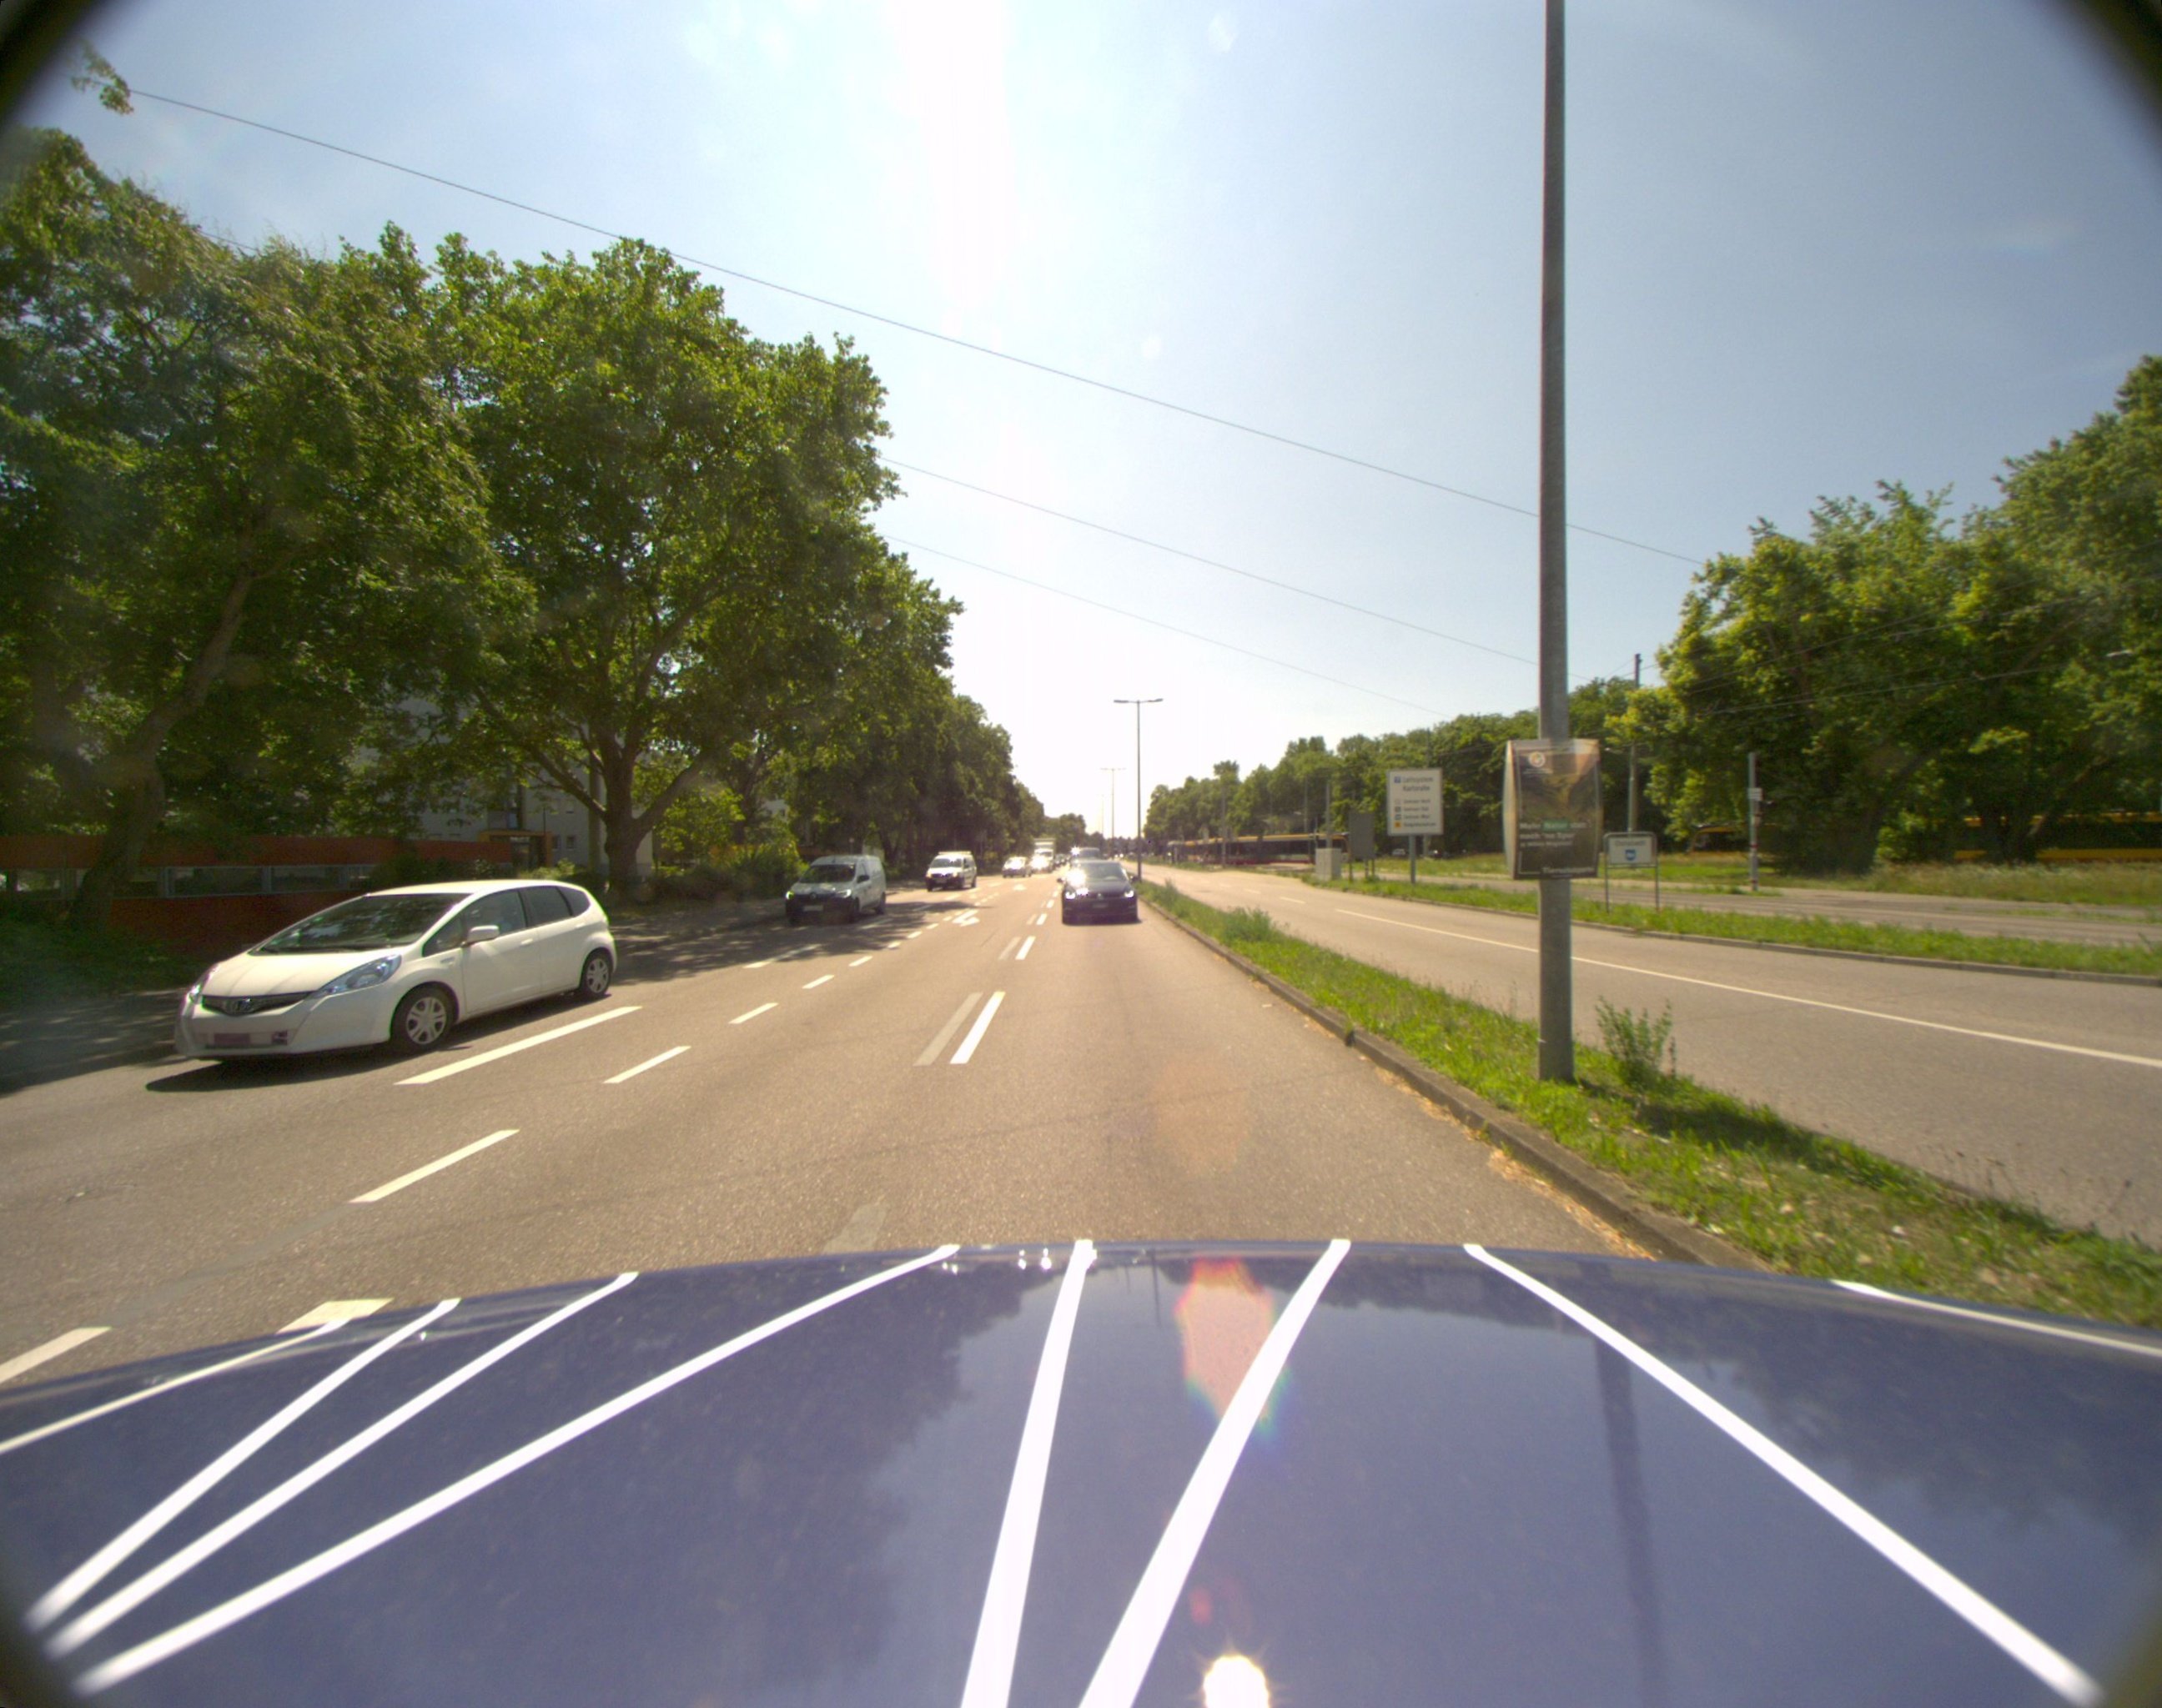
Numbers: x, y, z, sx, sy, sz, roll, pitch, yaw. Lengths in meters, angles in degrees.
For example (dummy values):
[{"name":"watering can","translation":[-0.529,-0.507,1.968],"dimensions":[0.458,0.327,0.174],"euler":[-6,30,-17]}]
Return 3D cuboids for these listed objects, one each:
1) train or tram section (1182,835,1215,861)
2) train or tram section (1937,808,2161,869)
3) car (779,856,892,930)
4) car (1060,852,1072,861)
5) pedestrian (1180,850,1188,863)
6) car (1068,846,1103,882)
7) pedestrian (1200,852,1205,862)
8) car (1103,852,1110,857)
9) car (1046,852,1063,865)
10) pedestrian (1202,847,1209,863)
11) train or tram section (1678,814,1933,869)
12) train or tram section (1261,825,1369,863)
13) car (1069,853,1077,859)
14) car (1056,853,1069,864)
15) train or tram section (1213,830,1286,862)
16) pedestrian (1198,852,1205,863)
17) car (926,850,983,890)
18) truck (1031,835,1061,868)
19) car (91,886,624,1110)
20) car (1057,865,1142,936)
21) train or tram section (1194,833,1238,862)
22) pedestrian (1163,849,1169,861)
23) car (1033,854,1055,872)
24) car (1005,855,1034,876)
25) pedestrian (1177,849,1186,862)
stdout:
[{"name":"train or tram section","translation":[18.314,-0.924,119.102],"dimensions":[3.051,3.745,13.260],"euler":[-2,0,0]},{"name":"train or tram section","translation":[61.733,-0.891,47.664],"dimensions":[3.051,3.446,10.200],"euler":[-3,0,-31]},{"name":"car","translation":[-6.658,0.975,21.102],"dimensions":[1.714,1.737,4.426],"euler":[-2,0,-1]},{"name":"car","translation":[-2.310,0.372,117.009],"dimensions":[1.746,1.382,3.887],"euler":[-1,0,1]},{"name":"pedestrian","translation":[12.704,0.321,93.652],"dimensions":[0.837,1.499,0.879],"euler":[-2,1,-2]},{"name":"car","translation":[0.257,0.495,41.588],"dimensions":[1.746,1.840,3.887],"euler":[-1,0,1]},{"name":"pedestrian","translation":[12.484,0.299,77.915],"dimensions":[0.384,1.052,0.377],"euler":[-2,1,-2]},{"name":"car","translation":[7.522,0.238,222.530],"dimensions":[1.773,1.496,3.721],"euler":[-1,0,5]},{"name":"car","translation":[-3.157,0.518,91.146],"dimensions":[1.746,1.382,3.887],"euler":[-1,0,1]},{"name":"pedestrian","translation":[12.633,0.110,77.289],"dimensions":[0.536,1.556,0.582],"euler":[-2,1,-1]},{"name":"train or tram section","translation":[52.424,-0.761,55.749],"dimensions":[13.229,3.446,3.052],"euler":[-2,0,45]},{"name":"train or tram section","translation":[24.832,-0.938,81.711],"dimensions":[3.058,3.603,12.425],"euler":[-3,0,-28]},{"name":"car","translation":[-2.132,0.583,208.389],"dimensions":[1.745,1.382,3.888],"euler":[-1,0,4]},{"name":"car","translation":[-2.503,0.639,104.894],"dimensions":[1.618,1.373,4.114],"euler":[-2,0,1]},{"name":"train or tram section","translation":[20.309,-0.890,92.671],"dimensions":[3.055,3.603,12.435],"euler":[-2,0,-15]},{"name":"pedestrian","translation":[12.464,0.362,78.476],"dimensions":[0.582,1.182,0.536],"euler":[-2,1,-5]},{"name":"car","translation":[-6.335,0.763,38.571],"dimensions":[1.809,1.845,5.082],"euler":[-2,0,2]},{"name":"truck","translation":[-3.615,-0.294,79.895],"dimensions":[2.490,3.277,6.605],"euler":[-1,0,2]},{"name":"car","translation":[-6.714,1.185,7.772],"dimensions":[1.725,1.480,3.877],"euler":[-2,0,-1]},{"name":"car","translation":[0.410,1.007,17.907],"dimensions":[1.746,1.382,3.887],"euler":[-2,0,1]},{"name":"train or tram section","translation":[18.578,-0.829,105.419],"dimensions":[3.052,3.603,13.894],"euler":[-2,0,-2]},{"name":"pedestrian","translation":[12.584,0.192,112.547],"dimensions":[0.633,1.781,0.776],"euler":[-2,1,-2]},{"name":"car","translation":[-3.263,0.785,68.258],"dimensions":[1.618,1.373,4.113],"euler":[-2,2,1]},{"name":"car","translation":[-4.537,0.838,56.537],"dimensions":[1.625,1.433,3.499],"euler":[-2,0,4]},{"name":"pedestrian","translation":[12.501,0.156,94.645],"dimensions":[0.933,1.537,0.985],"euler":[-2,1,-2]}]
